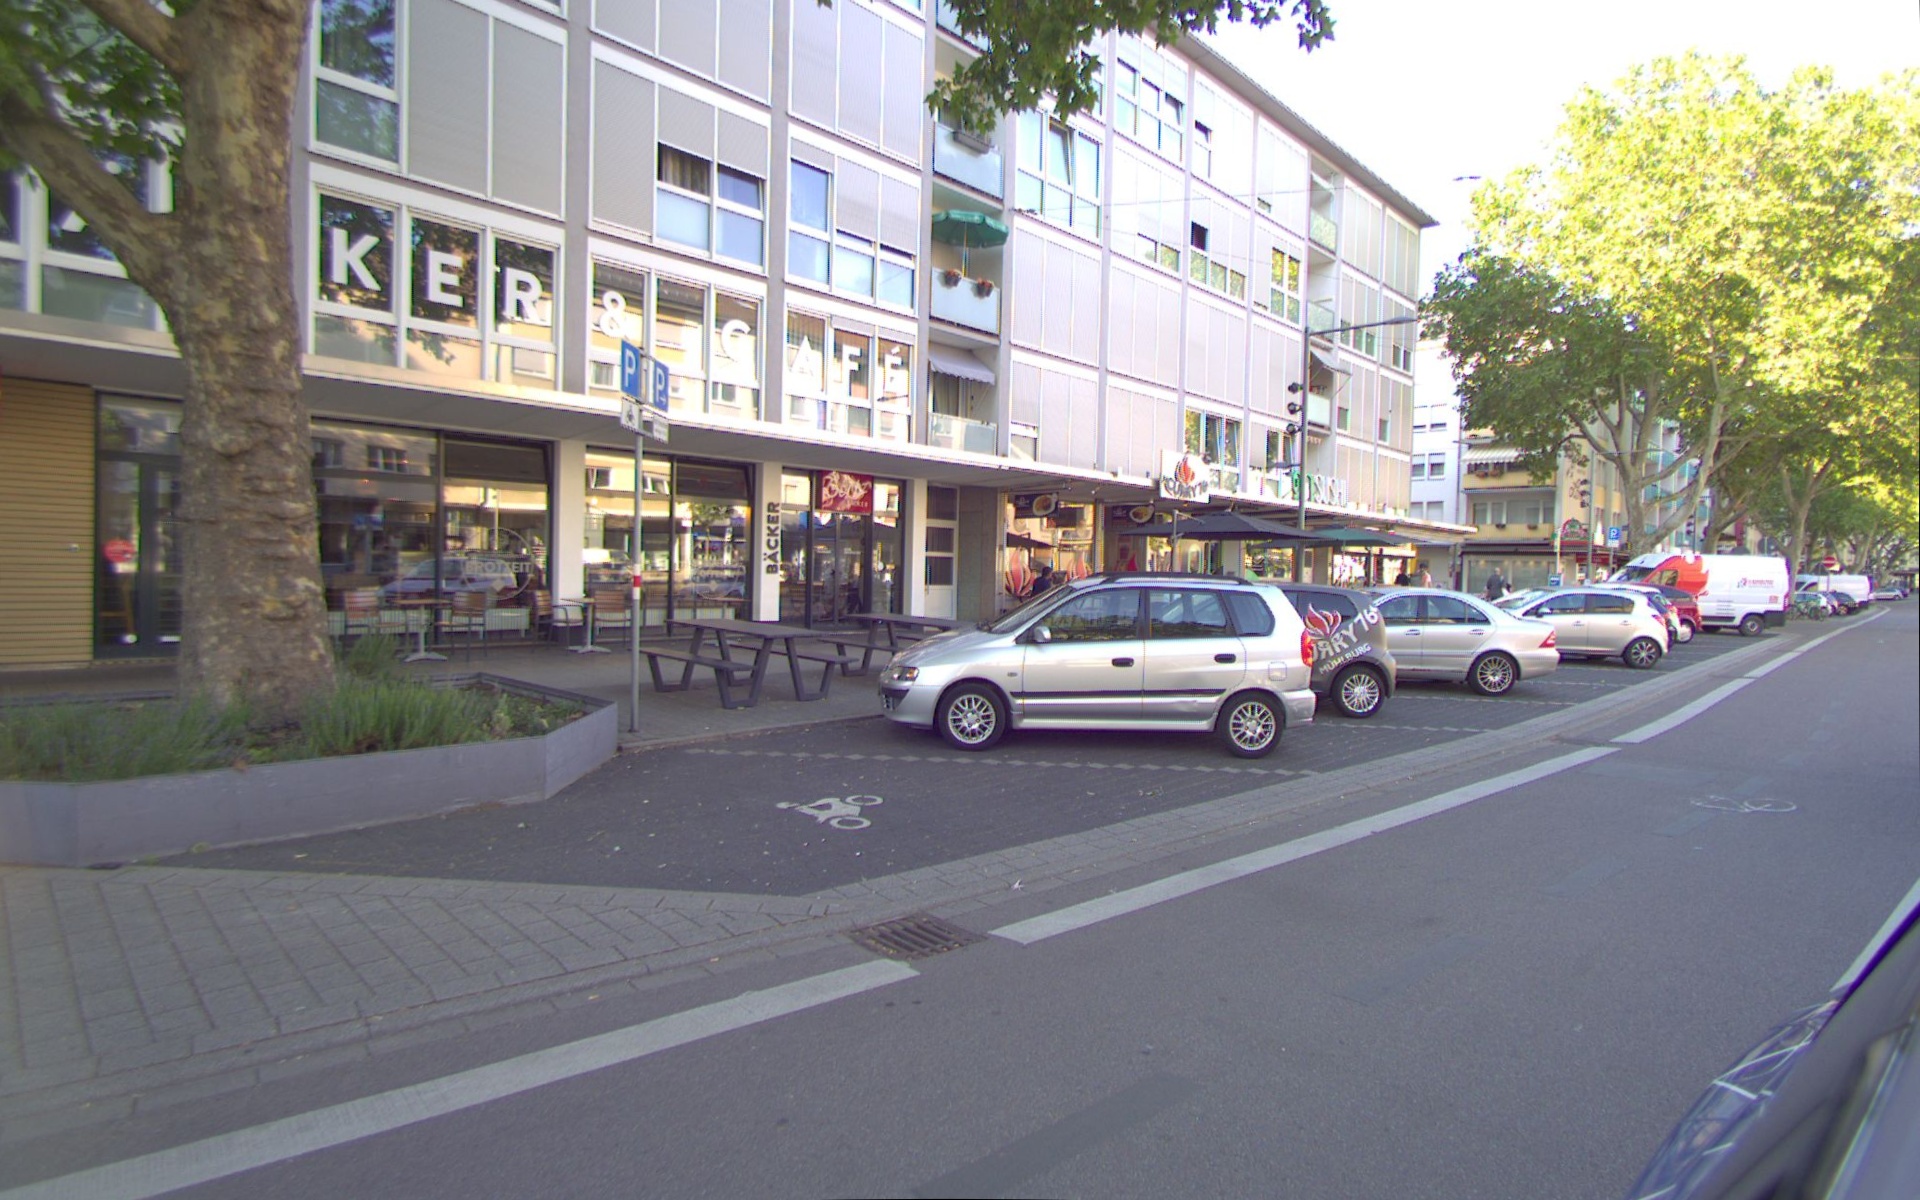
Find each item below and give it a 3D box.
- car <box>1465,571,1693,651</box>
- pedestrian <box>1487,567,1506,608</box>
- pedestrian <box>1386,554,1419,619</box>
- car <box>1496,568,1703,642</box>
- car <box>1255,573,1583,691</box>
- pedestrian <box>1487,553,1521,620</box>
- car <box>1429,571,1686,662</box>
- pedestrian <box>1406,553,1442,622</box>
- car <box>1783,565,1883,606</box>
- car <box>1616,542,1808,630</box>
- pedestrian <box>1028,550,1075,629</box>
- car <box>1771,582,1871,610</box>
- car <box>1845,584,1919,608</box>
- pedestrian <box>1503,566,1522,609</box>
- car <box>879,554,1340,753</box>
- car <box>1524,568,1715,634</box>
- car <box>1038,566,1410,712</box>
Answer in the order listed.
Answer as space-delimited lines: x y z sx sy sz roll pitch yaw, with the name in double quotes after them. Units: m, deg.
13.528 0.185 22.383 3.886 1.446 1.670 4 3 16 "car"
22.282 -0.524 42.057 0.536 1.660 0.470 2 2 45 "pedestrian"
13.767 -0.420 31.472 0.746 2.000 0.566 3 2 45 "pedestrian"
15.646 0.082 24.984 3.888 1.445 1.669 4 5 17 "car"
6.429 0.410 14.472 3.867 1.418 1.598 2 3 0 "car"
16.805 -0.415 31.239 0.746 2.038 0.550 3 2 45 "pedestrian"
11.384 0.278 19.491 3.871 1.446 1.559 3 3 4 "car"
14.058 -0.393 30.665 0.746 2.038 0.752 3 2 45 "pedestrian"
55.914 -0.951 64.893 4.512 2.499 1.977 1 2 3 "car"
23.480 -0.445 31.733 4.514 2.525 1.675 2 1 5 "car"
1.900 -0.231 21.036 0.757 1.602 0.583 0 2 -39 "pedestrian"
47.788 -0.235 56.236 3.864 1.422 1.782 1 2 3 "car"
56.112 -0.237 61.000 3.864 1.350 1.782 1 2 3 "car"
22.731 -0.522 41.618 0.544 1.741 0.450 2 2 45 "pedestrian"
1.242 0.434 9.475 3.906 1.560 1.679 2 3 -3 "car"
17.632 -0.014 27.268 3.888 1.445 1.669 4 5 17 "car"
2.986 0.414 12.003 3.864 1.446 1.679 2 3 -3 "car"
